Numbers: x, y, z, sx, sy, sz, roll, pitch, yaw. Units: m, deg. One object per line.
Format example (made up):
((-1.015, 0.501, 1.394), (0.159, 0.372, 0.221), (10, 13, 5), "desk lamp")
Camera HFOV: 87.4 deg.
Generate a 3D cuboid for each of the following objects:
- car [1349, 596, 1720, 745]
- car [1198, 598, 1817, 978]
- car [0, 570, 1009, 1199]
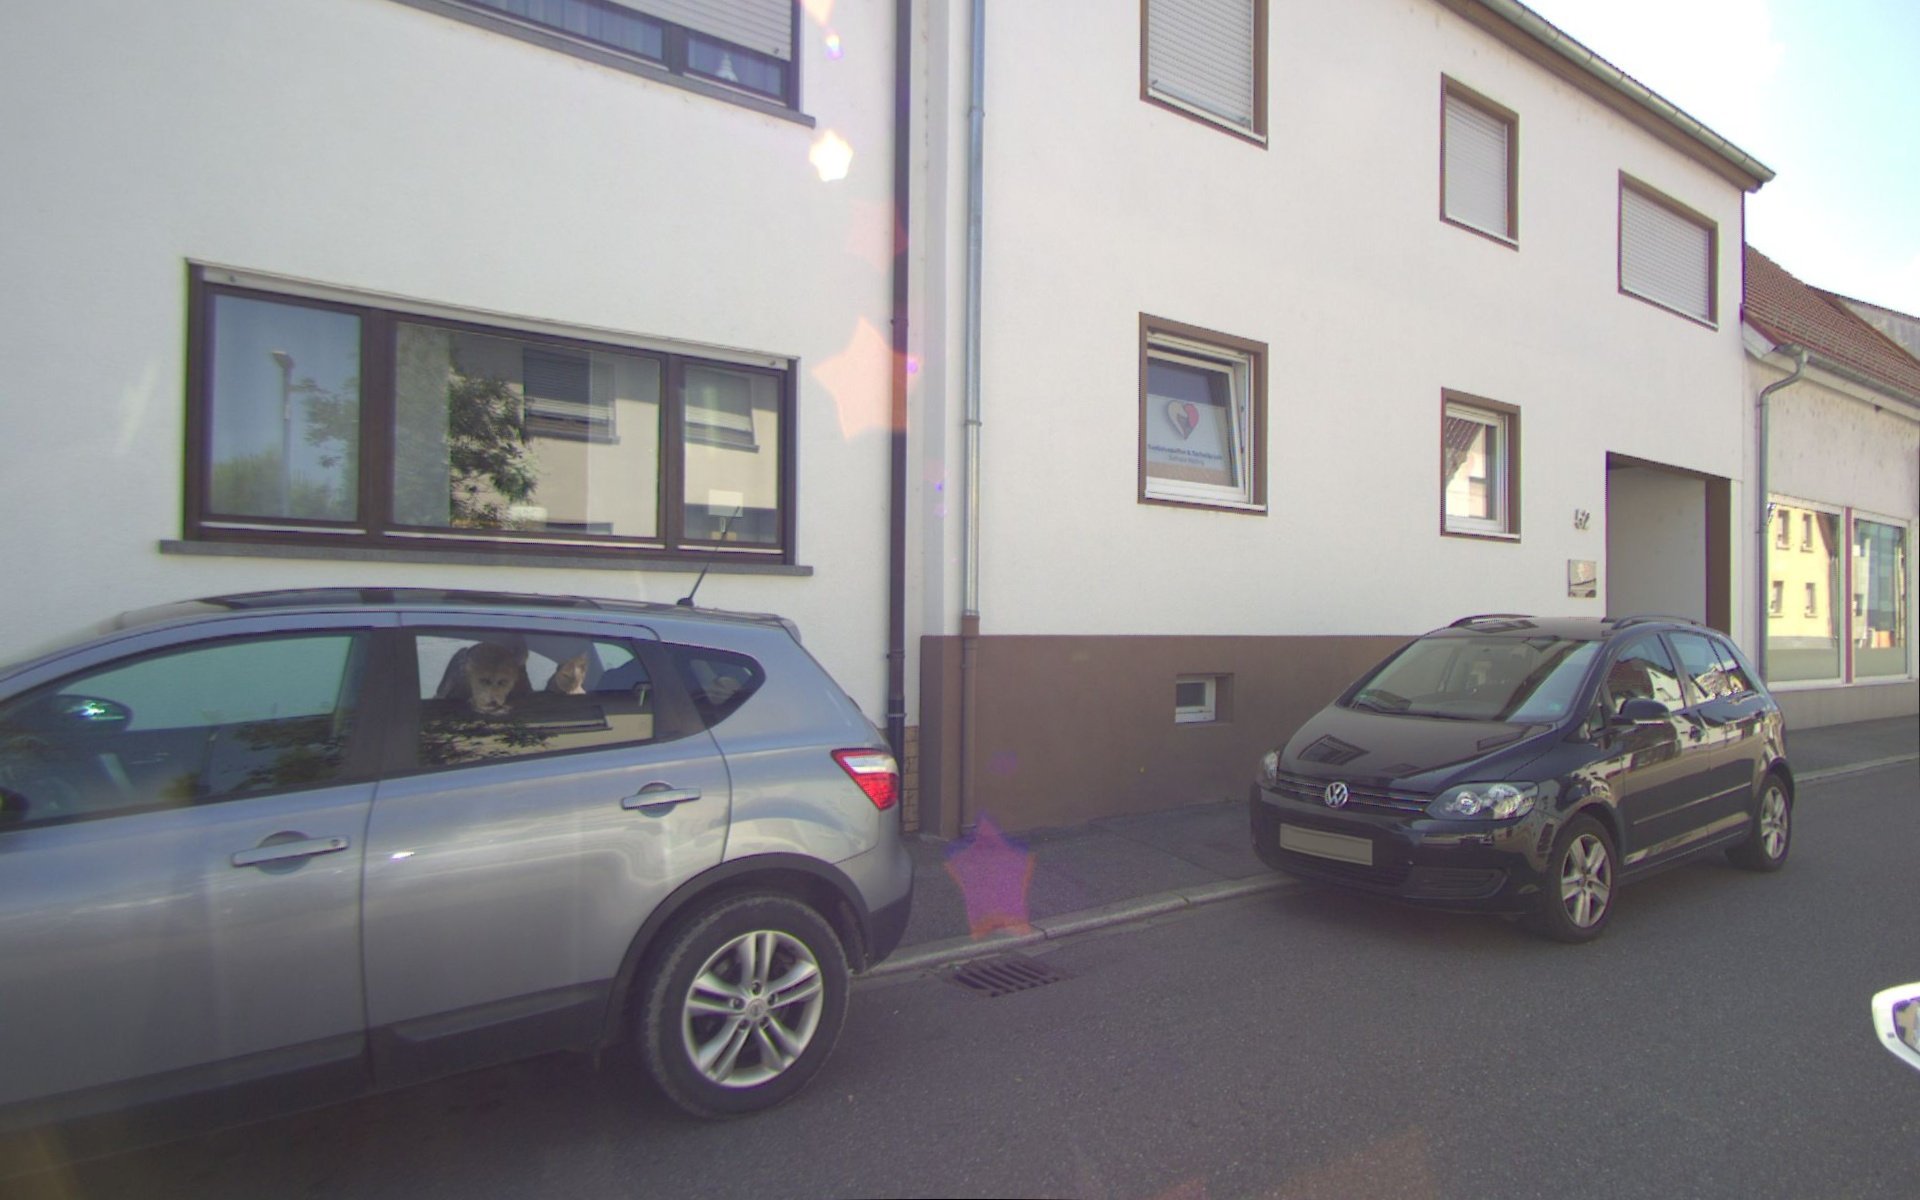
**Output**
((7.908, 0.898, 14.236), (1.860, 1.772, 4.217), (1, -2, -33), "car")
((3.467, 0.860, 6.125), (4.018, 1.630, 1.643), (1, -2, -34), "car")
((-2.065, 0.735, 3.105), (4.244, 1.545, 1.748), (1, -2, -34), "car")
